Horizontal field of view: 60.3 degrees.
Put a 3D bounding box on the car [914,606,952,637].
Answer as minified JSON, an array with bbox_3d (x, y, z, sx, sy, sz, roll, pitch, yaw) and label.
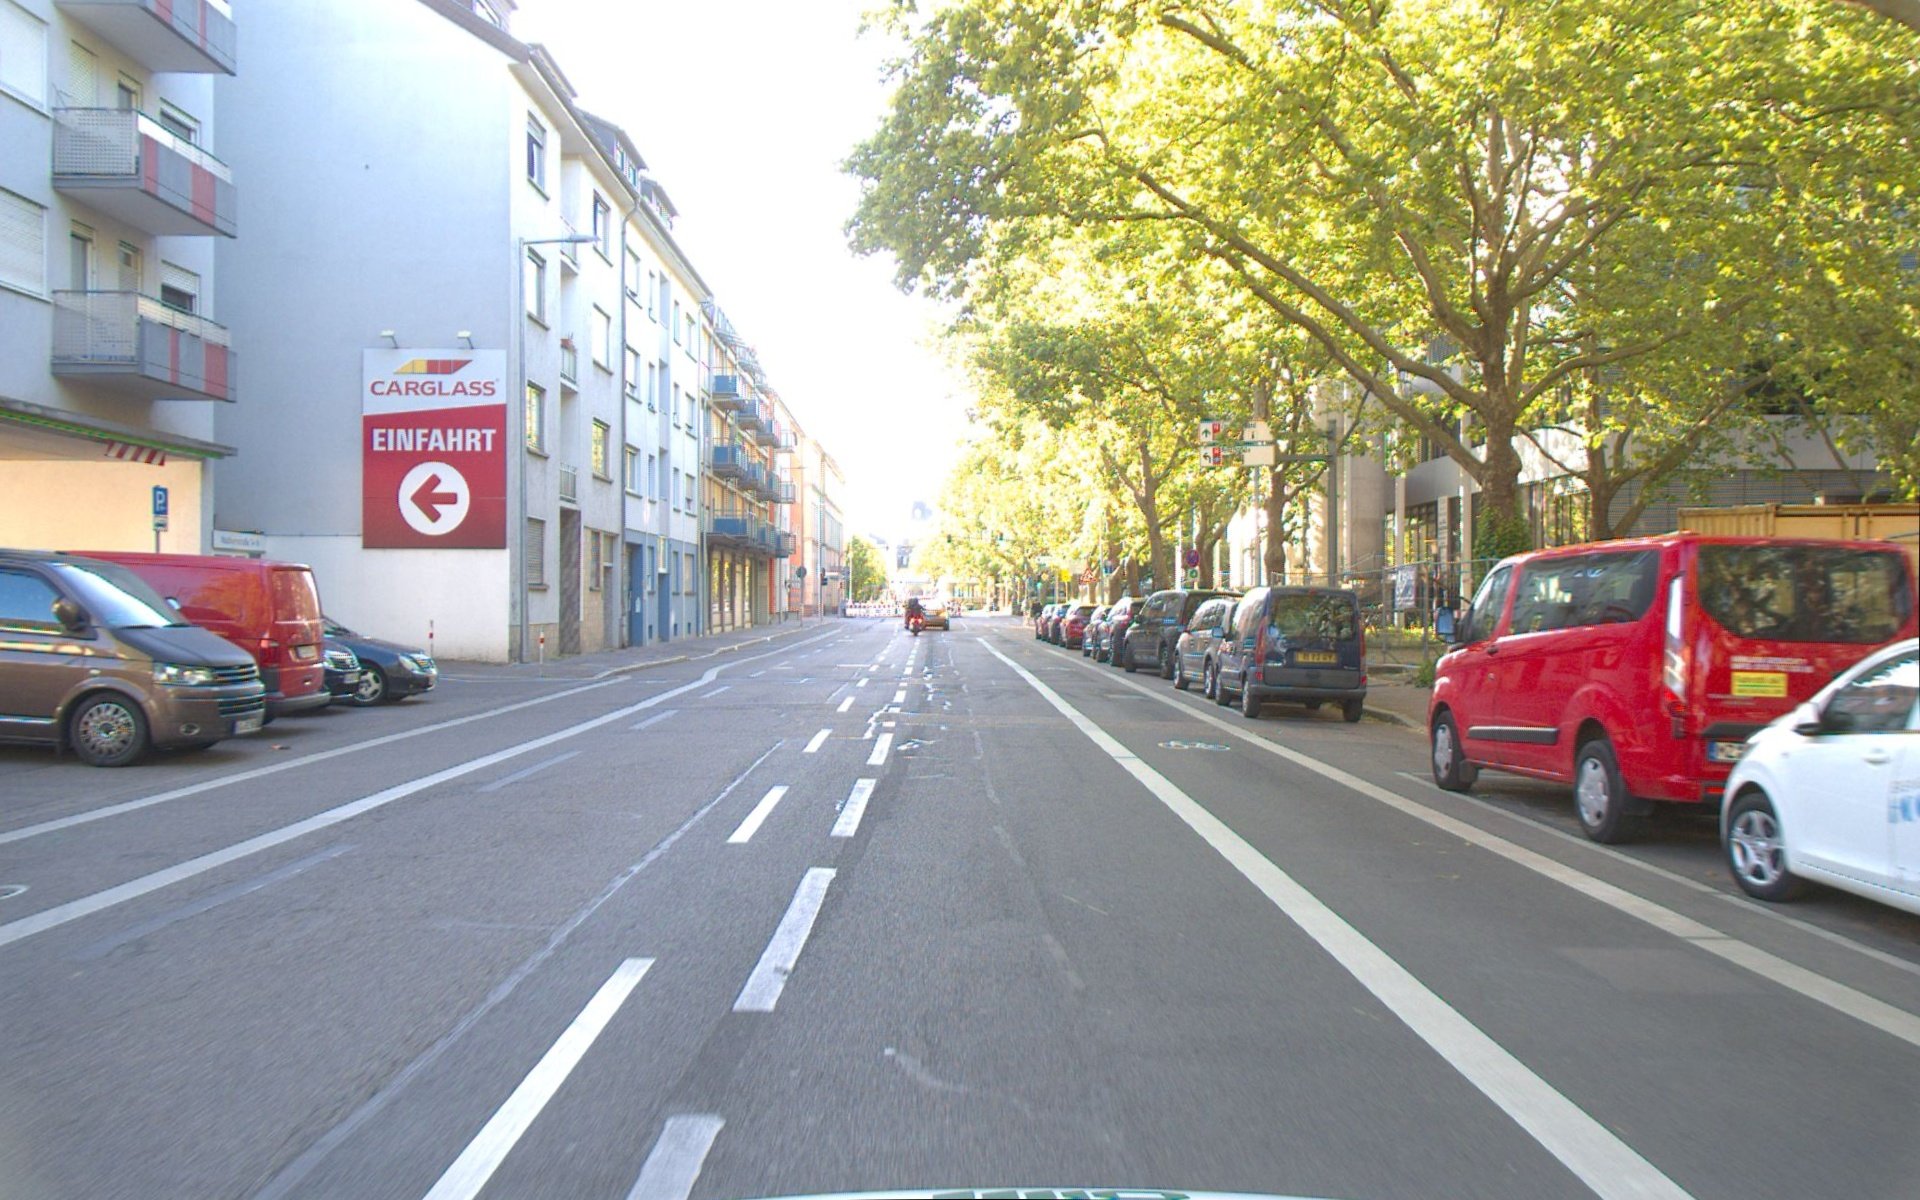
[{"bbox_3d":[-1.323,1.038,80.654,1.791,1.445,3.813,0,0,-2],"label":"car"}]

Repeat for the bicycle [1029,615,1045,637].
[{"bbox_3d":[4.016,1.358,86.051,0.643,1.089,1.926,1,-1,-2],"label":"bicycle"}]

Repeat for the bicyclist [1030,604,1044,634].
[{"bbox_3d":[4.025,0.976,86.063,0.643,1.557,0.851,1,-1,-2],"label":"bicyclist"}]

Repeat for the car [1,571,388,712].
[{"bbox_3d":[-9.885,0.522,21.605,4.088,1.591,1.886,2,-1,-1],"label":"car"}]

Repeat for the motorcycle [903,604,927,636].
[{"bbox_3d":[-1.917,0.824,70.008,0.992,1.329,2.671,0,0,-2],"label":"motorcycle"}]

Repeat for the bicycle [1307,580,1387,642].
[{"bbox_3d":[13.084,0.367,55.939,2.545,2.049,0.742,0,-1,-2],"label":"bicycle"}]

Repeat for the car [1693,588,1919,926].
[{"bbox_3d":[5.117,0.730,7.848,1.604,1.511,3.759,2,0,0],"label":"car"}]

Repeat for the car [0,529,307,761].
[{"bbox_3d":[-8.880,0.352,15.743,4.431,1.986,2.056,2,0,-1],"label":"car"}]

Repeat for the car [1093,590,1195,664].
[{"bbox_3d":[4.424,0.640,40.436,1.740,1.656,4.618,2,-1,-3],"label":"car"}]

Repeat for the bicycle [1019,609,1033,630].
[{"bbox_3d":[3.782,1.116,94.421,0.643,1.131,2.184,1,-1,-2],"label":"bicycle"}]

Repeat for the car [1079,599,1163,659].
[{"bbox_3d":[4.401,0.770,45.735,1.659,1.530,4.017,2,-1,-3],"label":"car"}]

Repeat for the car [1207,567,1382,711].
[{"bbox_3d":[4.739,0.535,23.951,1.658,1.844,4.130,2,-1,0],"label":"car"}]

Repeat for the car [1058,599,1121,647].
[{"bbox_3d":[4.260,0.752,55.020,1.658,1.505,4.317,2,-1,-1],"label":"car"}]

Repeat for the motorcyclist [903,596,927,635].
[{"bbox_3d":[-1.917,0.668,69.987,0.992,1.630,1.405,0,-1,-2],"label":"motorcyclist"}]

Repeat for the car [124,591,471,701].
[{"bbox_3d":[-9.469,0.651,23.918,4.143,1.404,2.045,2,-1,-1],"label":"car"}]

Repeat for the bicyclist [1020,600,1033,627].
[{"bbox_3d":[3.784,0.780,94.535,0.643,1.557,0.906,1,-1,-2],"label":"bicyclist"}]

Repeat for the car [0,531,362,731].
[{"bbox_3d":[-9.305,0.304,18.550,4.331,1.986,2.145,2,0,-1],"label":"car"}]

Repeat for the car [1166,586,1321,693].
[{"bbox_3d":[4.783,0.645,28.490,1.659,1.656,4.327,2,-1,-3],"label":"car"}]

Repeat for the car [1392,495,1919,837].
[{"bbox_3d":[5.137,0.430,12.638,2.037,2.029,5.168,2,-1,-3],"label":"car"}]

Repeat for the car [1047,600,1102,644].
[{"bbox_3d":[4.135,0.779,60.351,1.658,1.492,4.065,2,-1,0],"label":"car"}]

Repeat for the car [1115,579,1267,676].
[{"bbox_3d":[4.822,0.556,35.246,1.791,1.873,4.888,2,-1,-9],"label":"car"}]

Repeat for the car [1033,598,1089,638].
[{"bbox_3d":[3.960,0.707,65.553,1.659,1.475,4.433,2,0,-3],"label":"car"}]

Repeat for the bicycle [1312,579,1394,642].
[{"bbox_3d":[13.073,0.351,55.009,2.545,2.049,0.742,0,-1,-2],"label":"bicycle"}]
